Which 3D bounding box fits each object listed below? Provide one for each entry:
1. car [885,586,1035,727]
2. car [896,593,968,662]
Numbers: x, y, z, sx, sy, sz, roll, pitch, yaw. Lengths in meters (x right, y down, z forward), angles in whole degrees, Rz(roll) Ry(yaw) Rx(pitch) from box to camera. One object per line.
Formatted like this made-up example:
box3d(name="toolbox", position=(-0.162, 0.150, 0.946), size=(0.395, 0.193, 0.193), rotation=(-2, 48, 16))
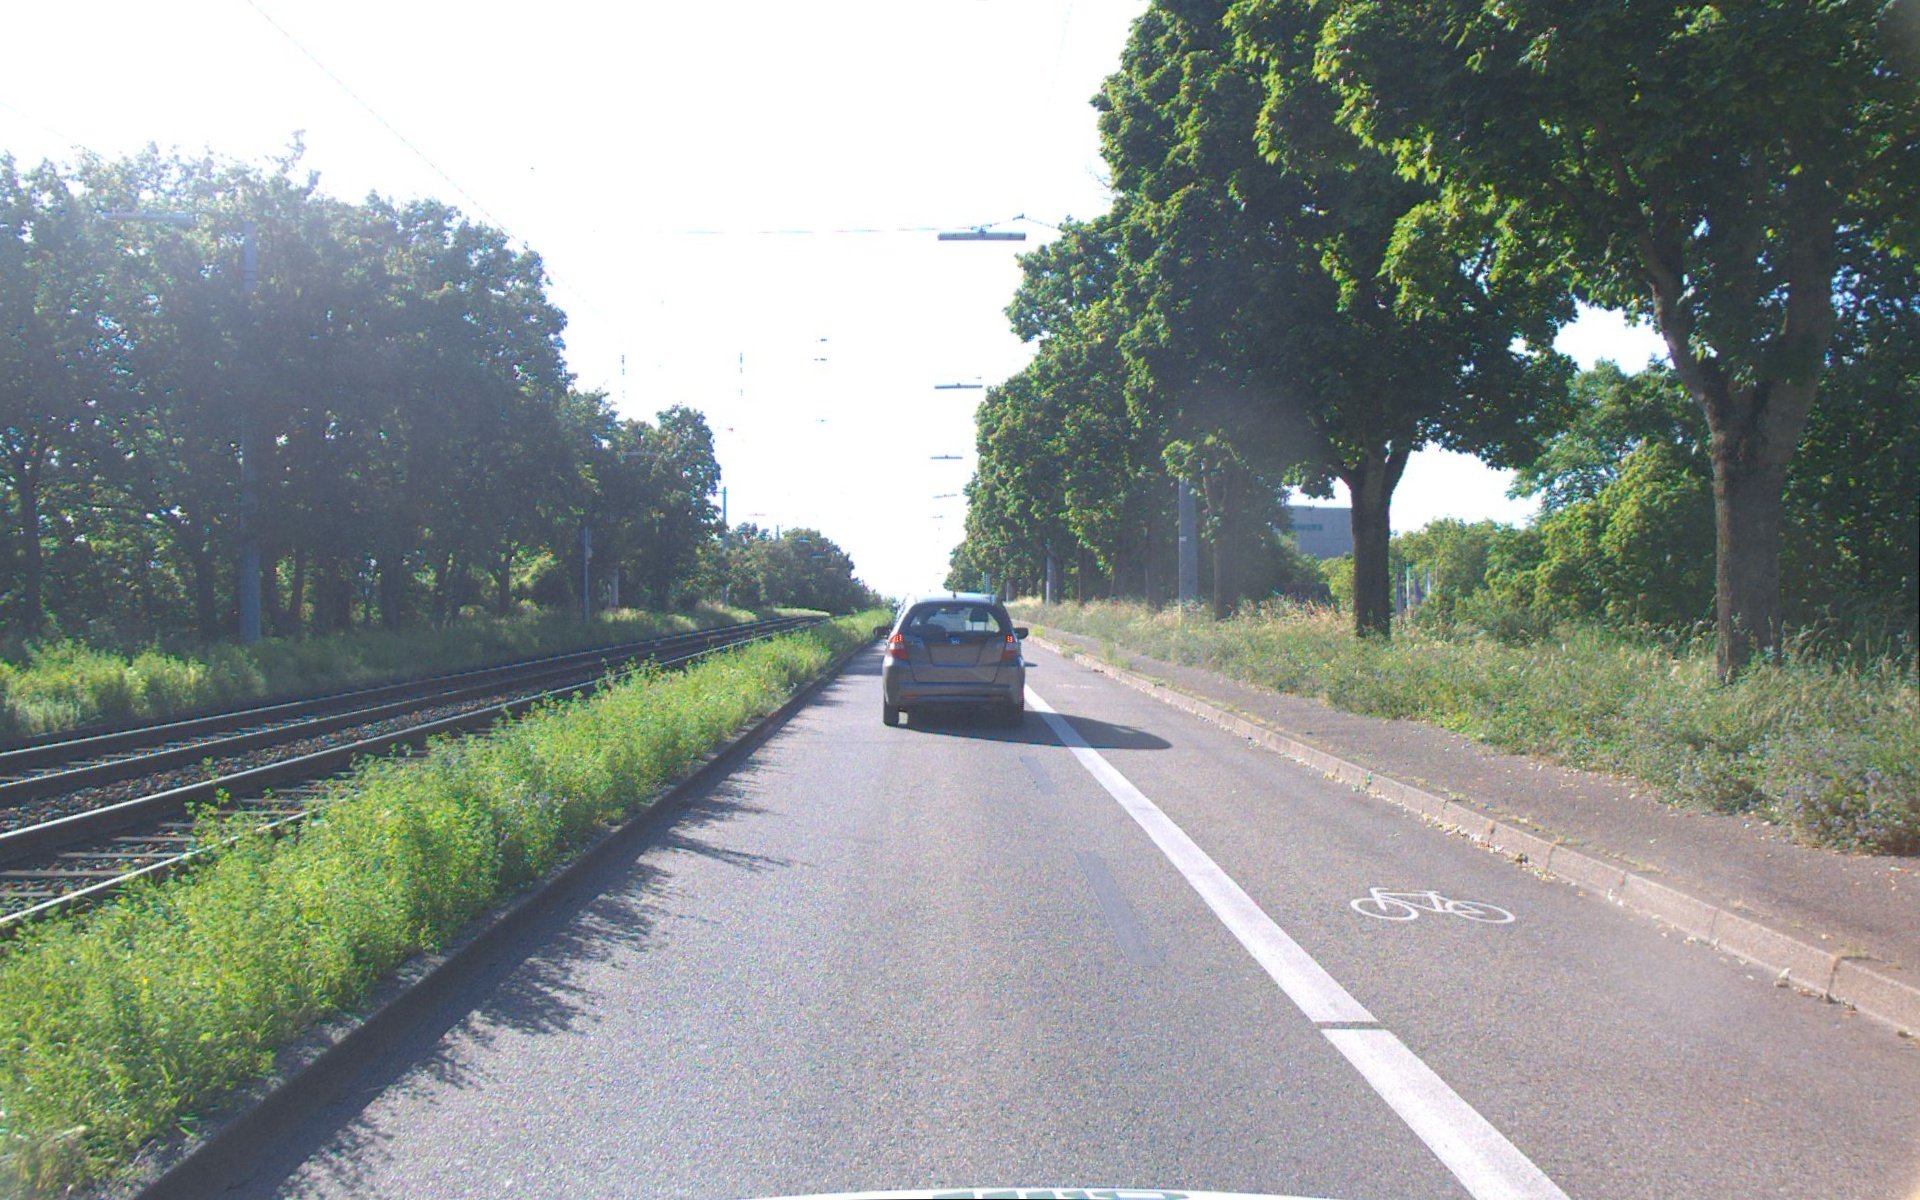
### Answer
box3d(name="car", position=(-0.015, 0.624, 20.259), size=(1.636, 1.534, 3.810), rotation=(1, 0, 0))
box3d(name="car", position=(-0.650, 0.630, 39.422), size=(1.621, 1.534, 3.810), rotation=(1, 0, 0))
